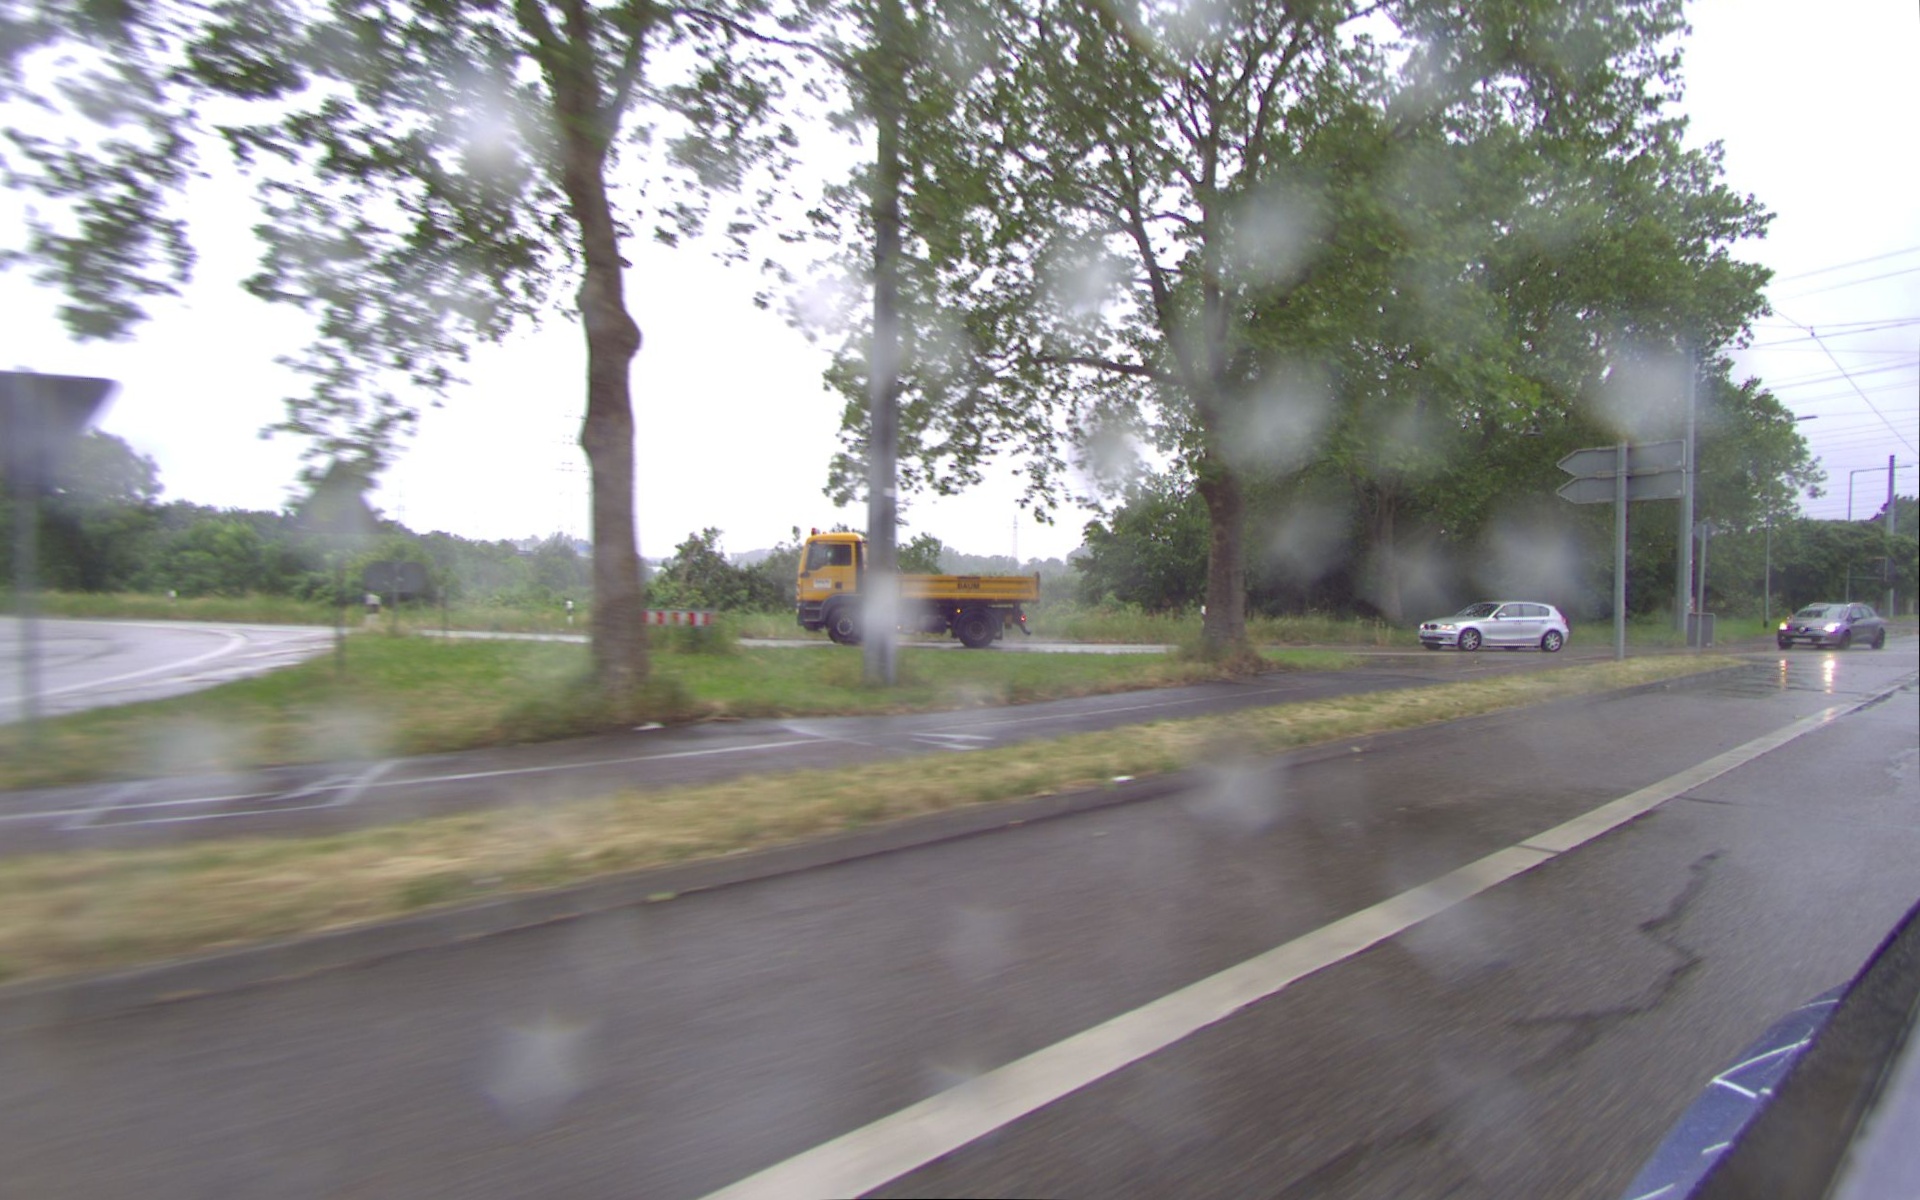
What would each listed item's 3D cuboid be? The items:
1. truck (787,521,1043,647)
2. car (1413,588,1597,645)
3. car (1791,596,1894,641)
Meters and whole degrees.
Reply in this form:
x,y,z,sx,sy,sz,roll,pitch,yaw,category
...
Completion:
x,y,z,sx,sy,sz,roll,pitch,yaw,category
-1.160,-0.434,28.179,6.808,3.299,2.561,1,-1,4,truck
15.356,0.470,28.607,4.511,1.522,1.634,1,-1,-9,car
28.298,0.584,32.417,4.201,1.374,1.891,1,-1,-40,car
